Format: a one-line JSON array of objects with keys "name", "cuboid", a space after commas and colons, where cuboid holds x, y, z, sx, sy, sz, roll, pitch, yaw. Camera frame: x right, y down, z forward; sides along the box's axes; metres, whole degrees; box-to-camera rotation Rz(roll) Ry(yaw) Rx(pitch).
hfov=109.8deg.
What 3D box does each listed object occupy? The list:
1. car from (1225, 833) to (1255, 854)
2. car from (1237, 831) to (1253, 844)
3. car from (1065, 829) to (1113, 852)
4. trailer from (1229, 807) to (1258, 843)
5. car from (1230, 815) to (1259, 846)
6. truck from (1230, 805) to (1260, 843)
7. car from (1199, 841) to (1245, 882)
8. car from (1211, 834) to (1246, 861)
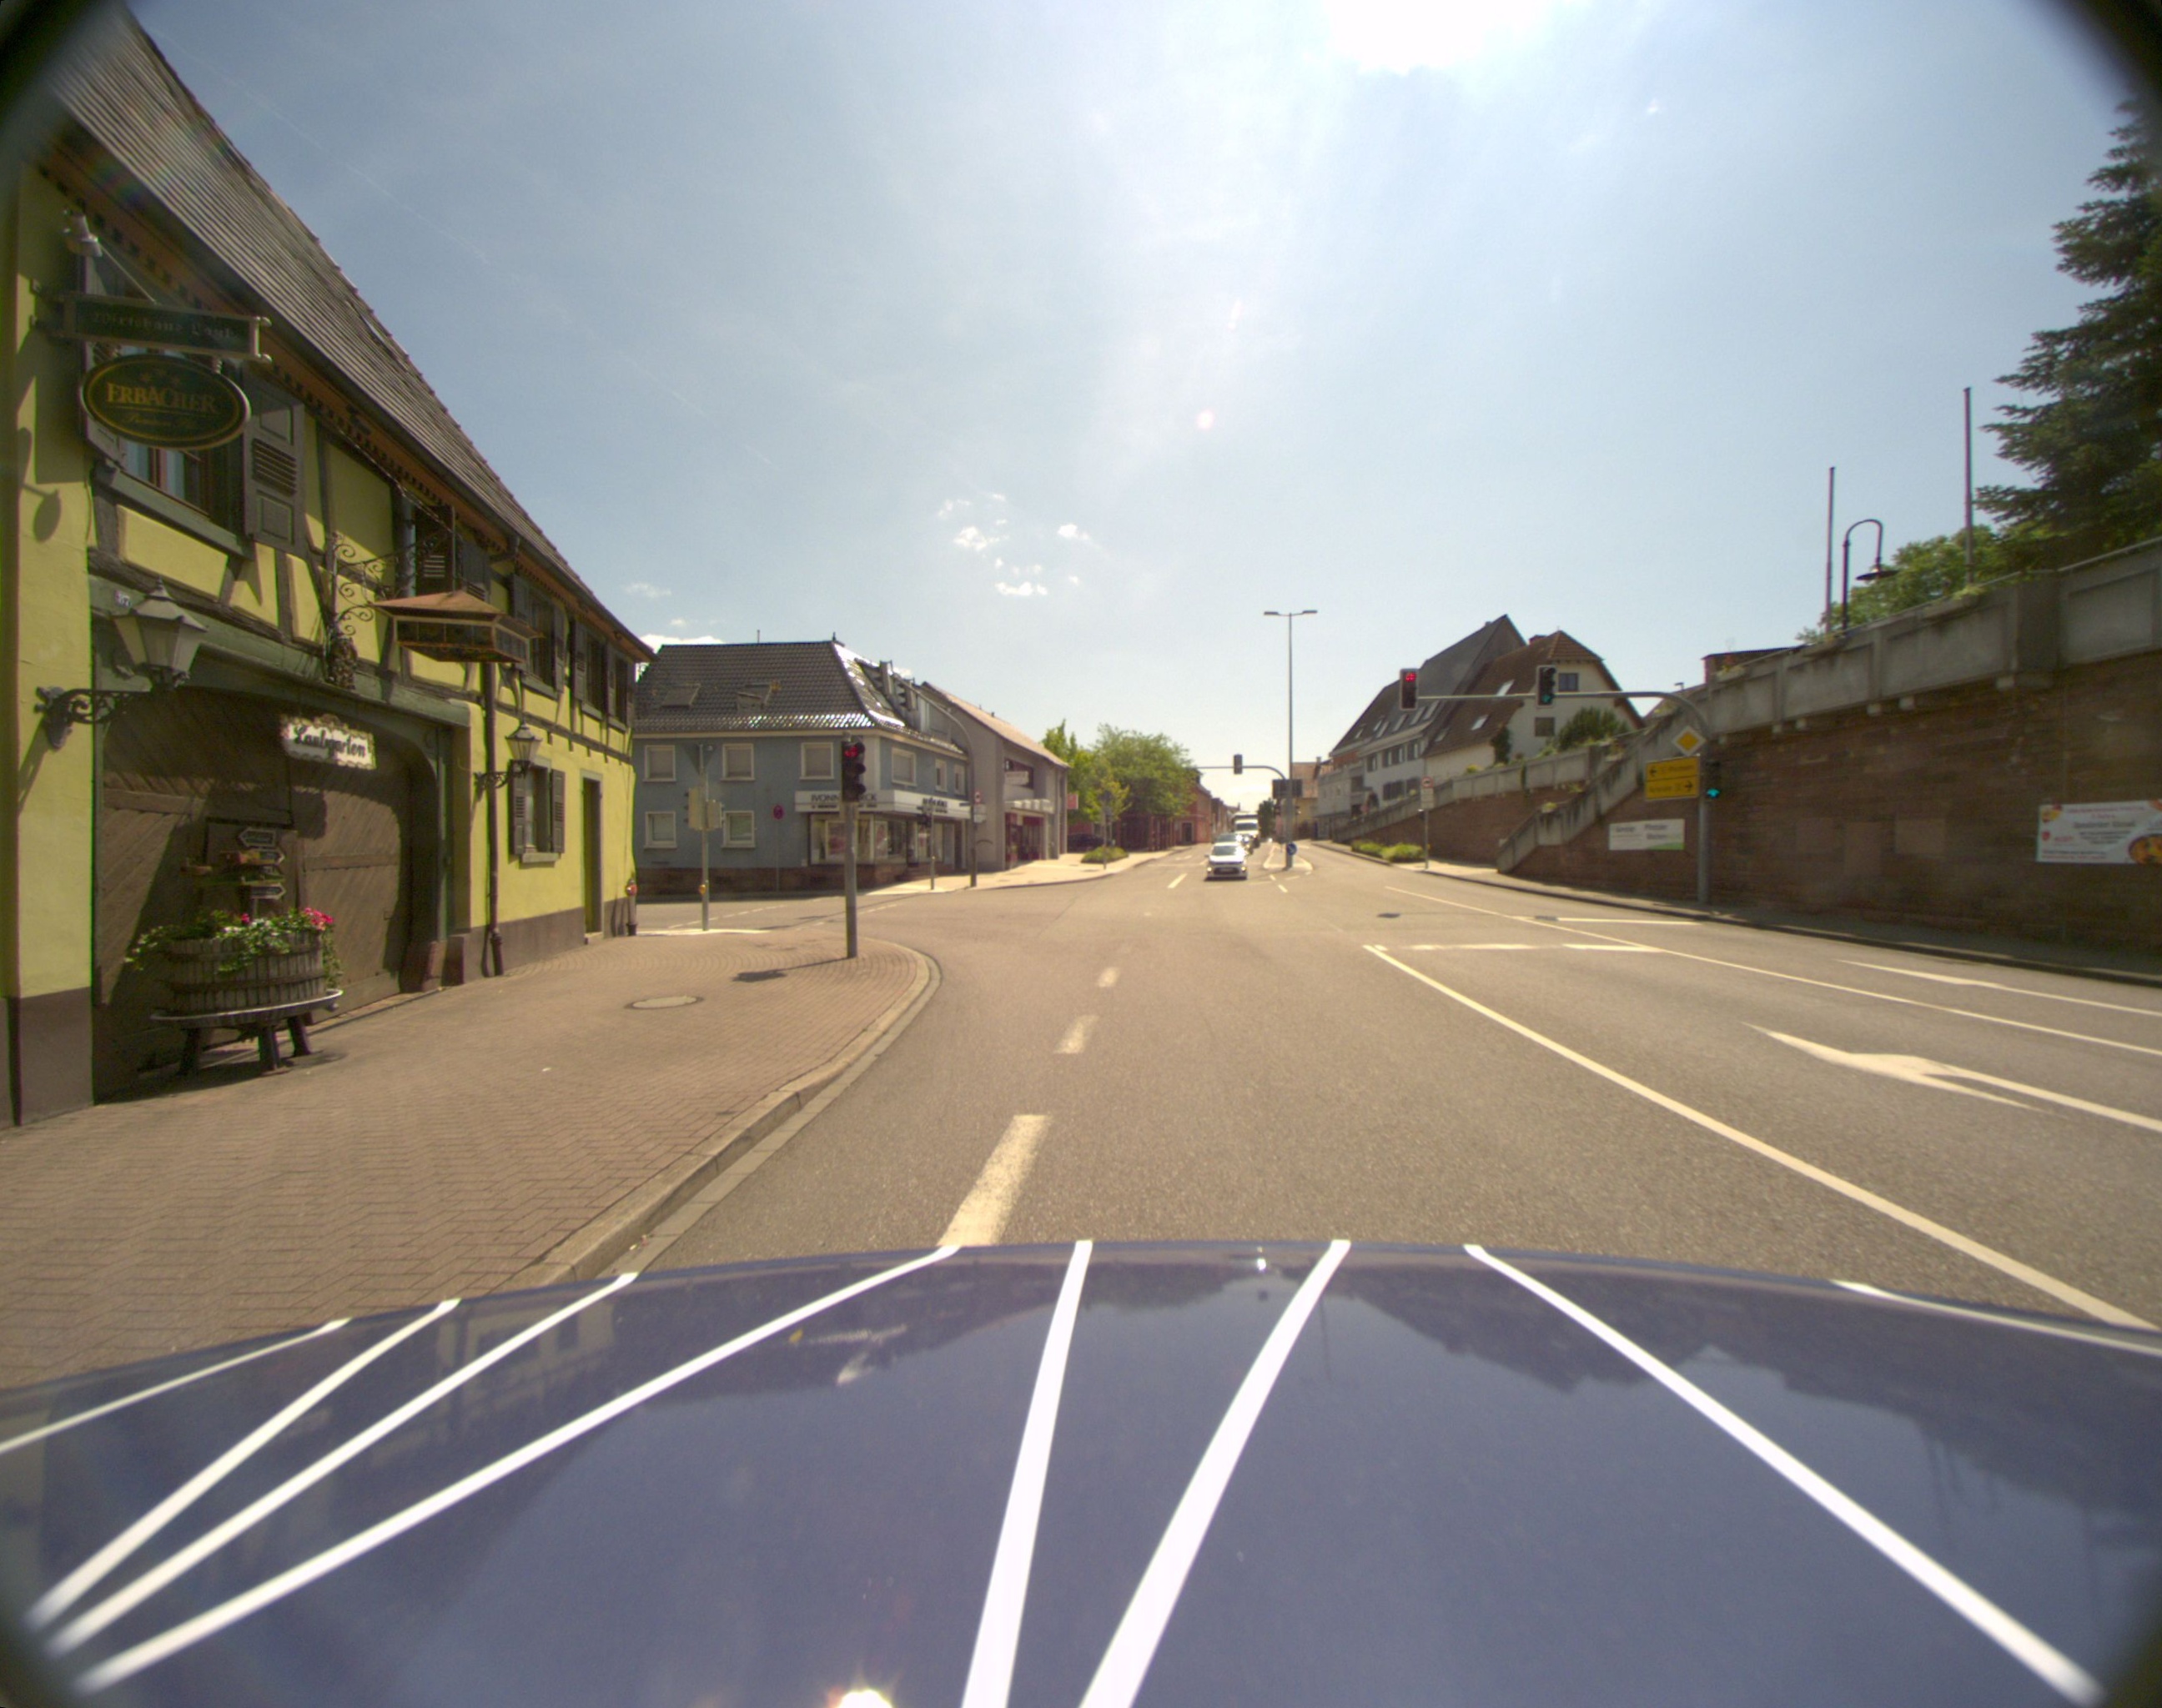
[{"name": "car", "cuboid": [11.105, -0.746, 53.178, 1.927, 1.358, 4.306, -2, 1, 12]}, {"name": "car", "cuboid": [22.094, -2.209, 102.396, 2.010, 1.621, 4.581, 0, 1, 11]}, {"name": "car", "cuboid": [0.658, -1.142, 63.258, 3.758, 1.701, 1.725, -2, 1, 7]}, {"name": "trailer", "cuboid": [17.537, -3.023, 82.396, 2.835, 3.549, 10.973, 0, 1, 11]}, {"name": "car", "cuboid": [13.739, -1.916, 63.695, 2.173, 2.549, 4.829, 0, 1, 14]}, {"name": "truck", "cuboid": [16.339, -2.908, 76.007, 2.845, 3.549, 5.472, 0, 1, 11]}, {"name": "car", "cuboid": [5.940, 0.254, 32.057, 1.723, 1.542, 4.306, -2, 1, 10]}, {"name": "car", "cuboid": [9.053, -0.434, 46.445, 1.722, 1.542, 4.307, -2, 1, 15]}]
